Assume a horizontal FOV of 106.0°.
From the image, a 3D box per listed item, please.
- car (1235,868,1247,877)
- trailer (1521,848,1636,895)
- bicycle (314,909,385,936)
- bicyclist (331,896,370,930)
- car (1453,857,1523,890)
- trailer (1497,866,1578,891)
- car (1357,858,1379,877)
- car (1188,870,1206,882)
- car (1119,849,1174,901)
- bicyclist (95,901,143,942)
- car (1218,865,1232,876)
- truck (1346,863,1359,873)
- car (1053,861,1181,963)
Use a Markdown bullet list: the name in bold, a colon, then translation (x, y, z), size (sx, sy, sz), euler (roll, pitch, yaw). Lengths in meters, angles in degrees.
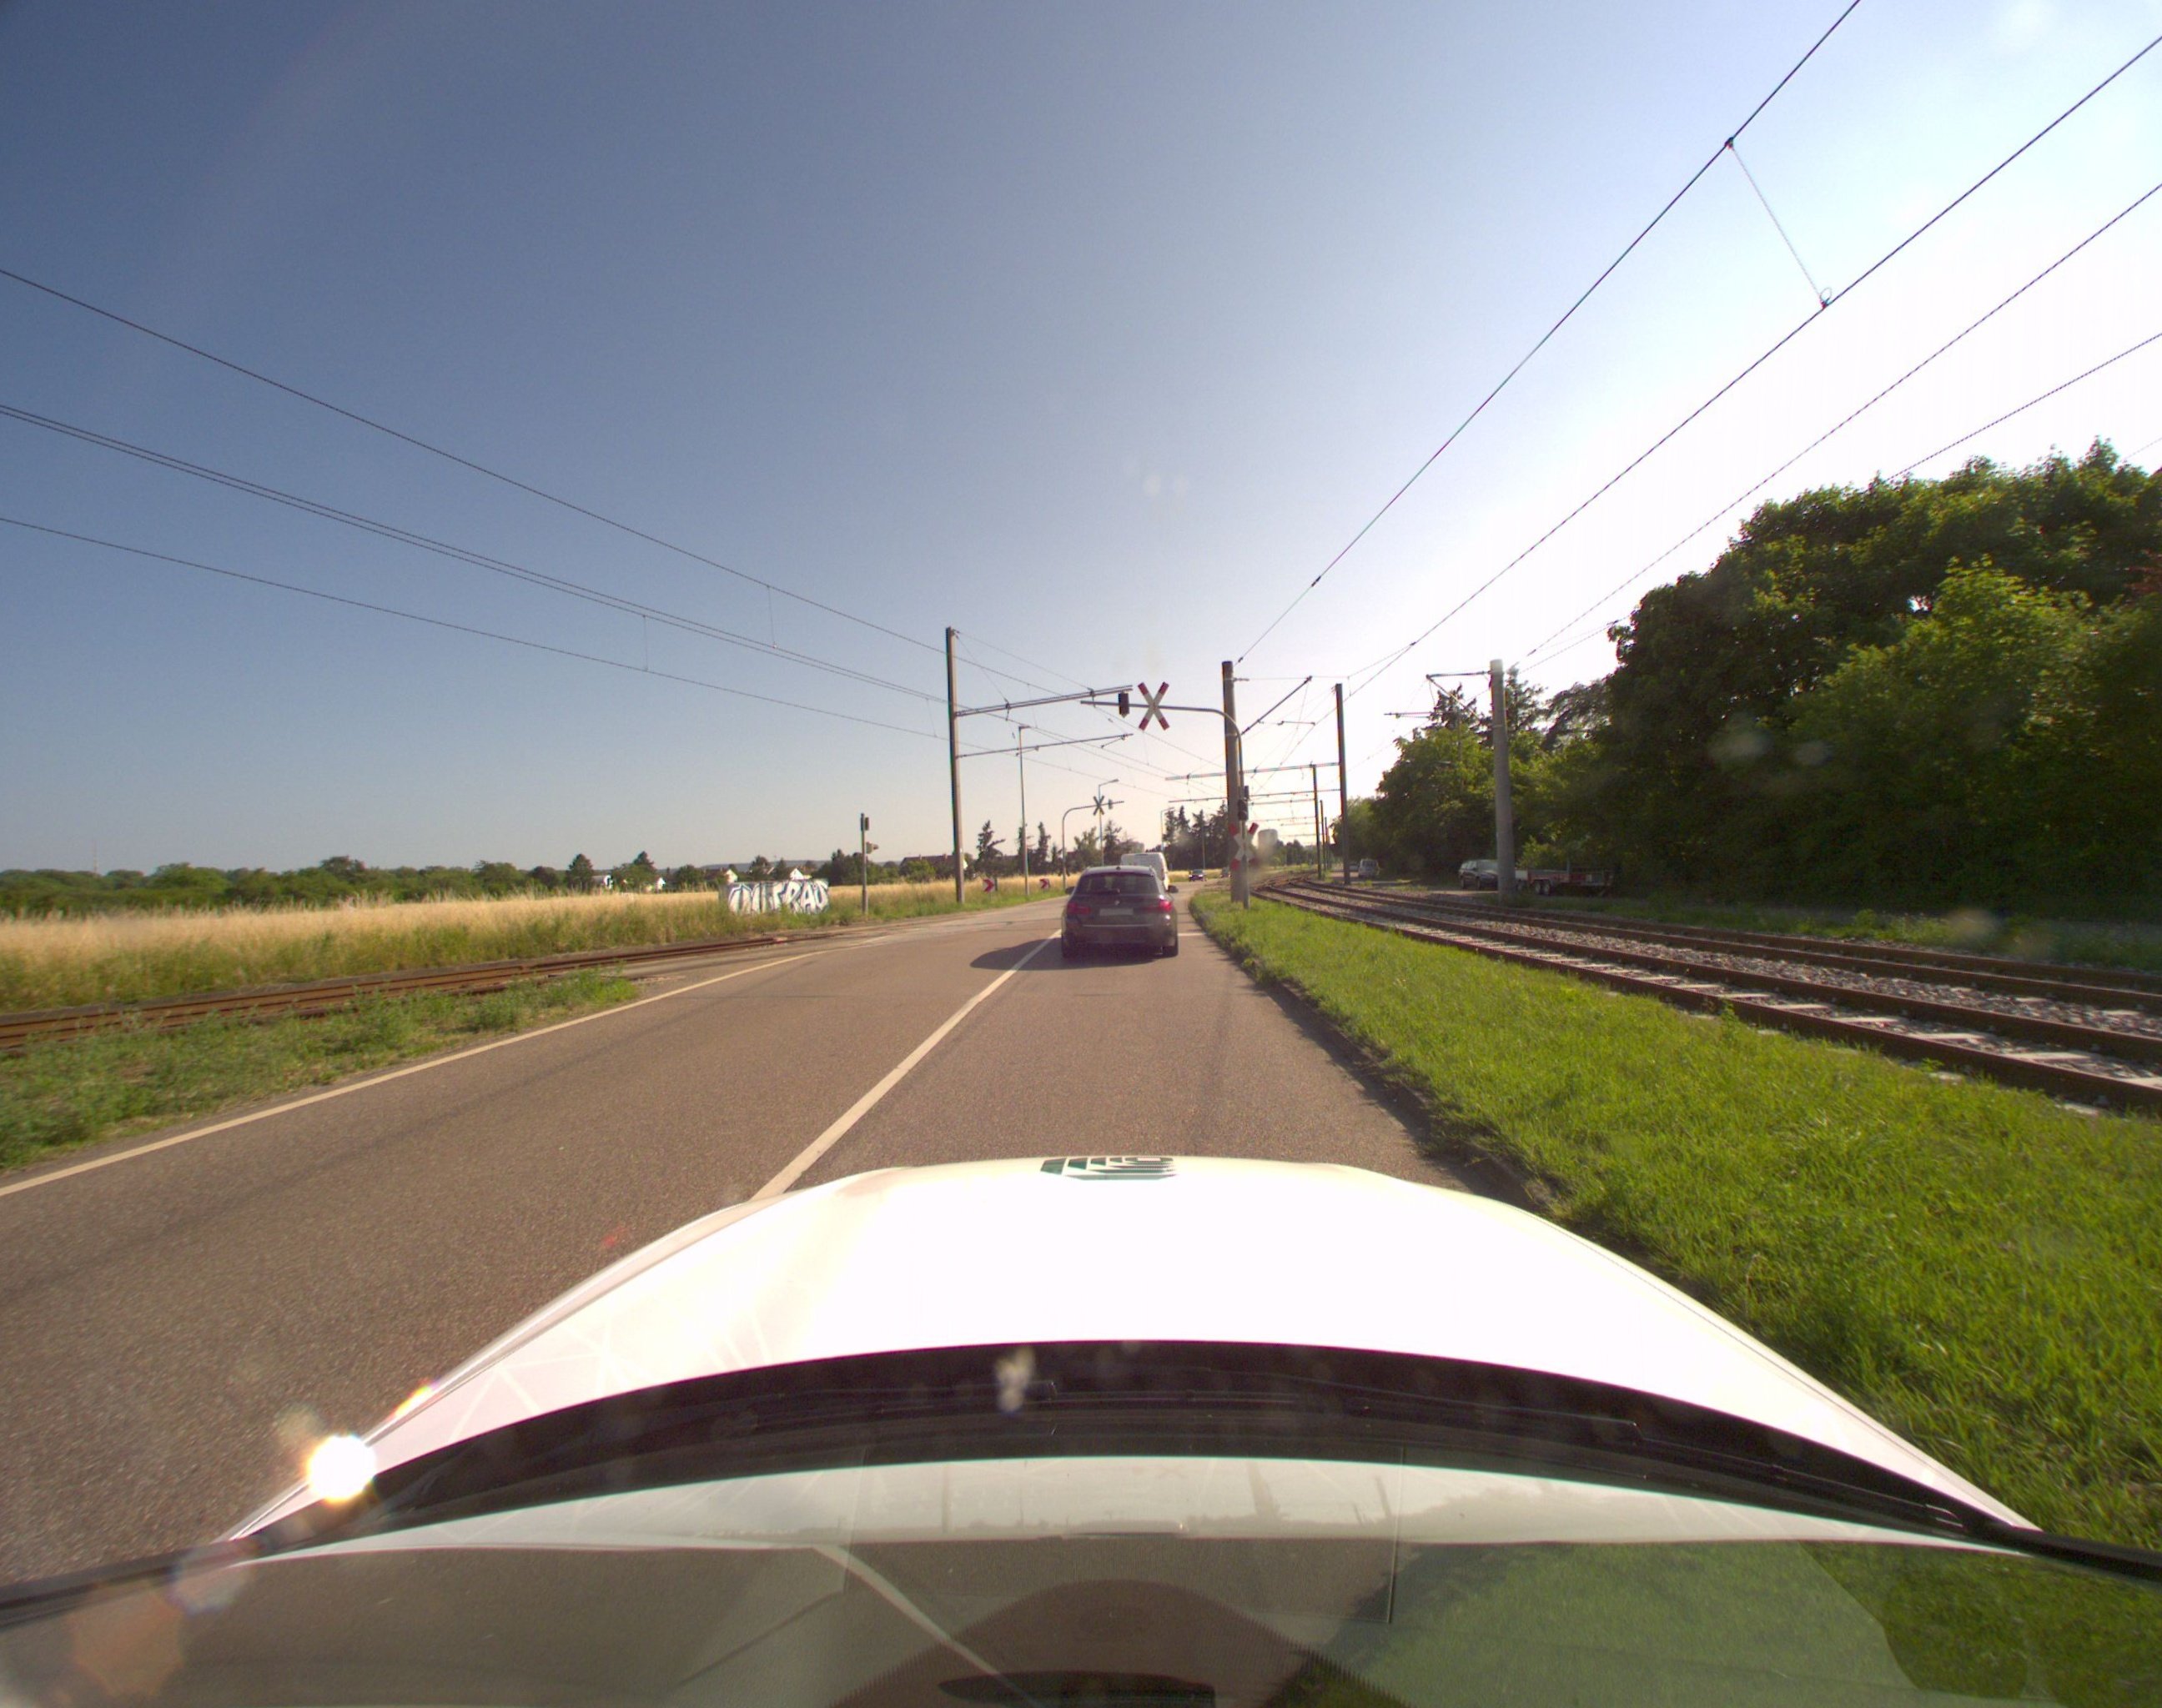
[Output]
- **car**: translation (28.502, 3.267, 144.825), size (1.699, 1.549, 3.945), euler (-2, -1, 17)
- **trailer**: translation (17.901, 0.629, 29.537), size (2.015, 1.596, 4.268), euler (0, -1, 8)
- **bicycle**: translation (-26.327, 2.449, 29.359), size (0.743, 0.839, 1.746), euler (-2, -2, 24)
- **bicyclist**: translation (-26.335, 2.122, 29.372), size (0.739, 1.205, 0.794), euler (-2, -2, 23)
- **car**: translation (19.087, 0.870, 38.412), size (1.688, 1.456, 4.895), euler (0, -1, 11)
- **trailer**: translation (18.691, 0.972, 33.515), size (1.721, 0.939, 3.736), euler (1, -1, 8)
- **car**: translation (30.292, 1.413, 86.052), size (1.978, 2.004, 5.088), euler (0, -1, 17)
- **car**: translation (14.256, 2.692, 100.134), size (1.680, 1.440, 4.300), euler (-1, -1, 15)
- **car**: translation (2.855, 0.861, 34.496), size (1.846, 1.988, 5.121), euler (-2, -1, 10)
- **bicyclist**: translation (-29.323, 2.048, 24.835), size (0.597, 1.205, 0.794), euler (-2, -1, 23)
- **car**: translation (23.145, 2.704, 130.546), size (1.693, 1.665, 4.609), euler (-2, -1, 17)
- **truck**: translation (52.869, 2.672, 158.453), size (2.187, 1.819, 5.955), euler (-2, -2, 17)
- **car**: translation (0.633, 0.883, 14.413), size (1.861, 1.452, 4.746), euler (-1, -1, 2)
